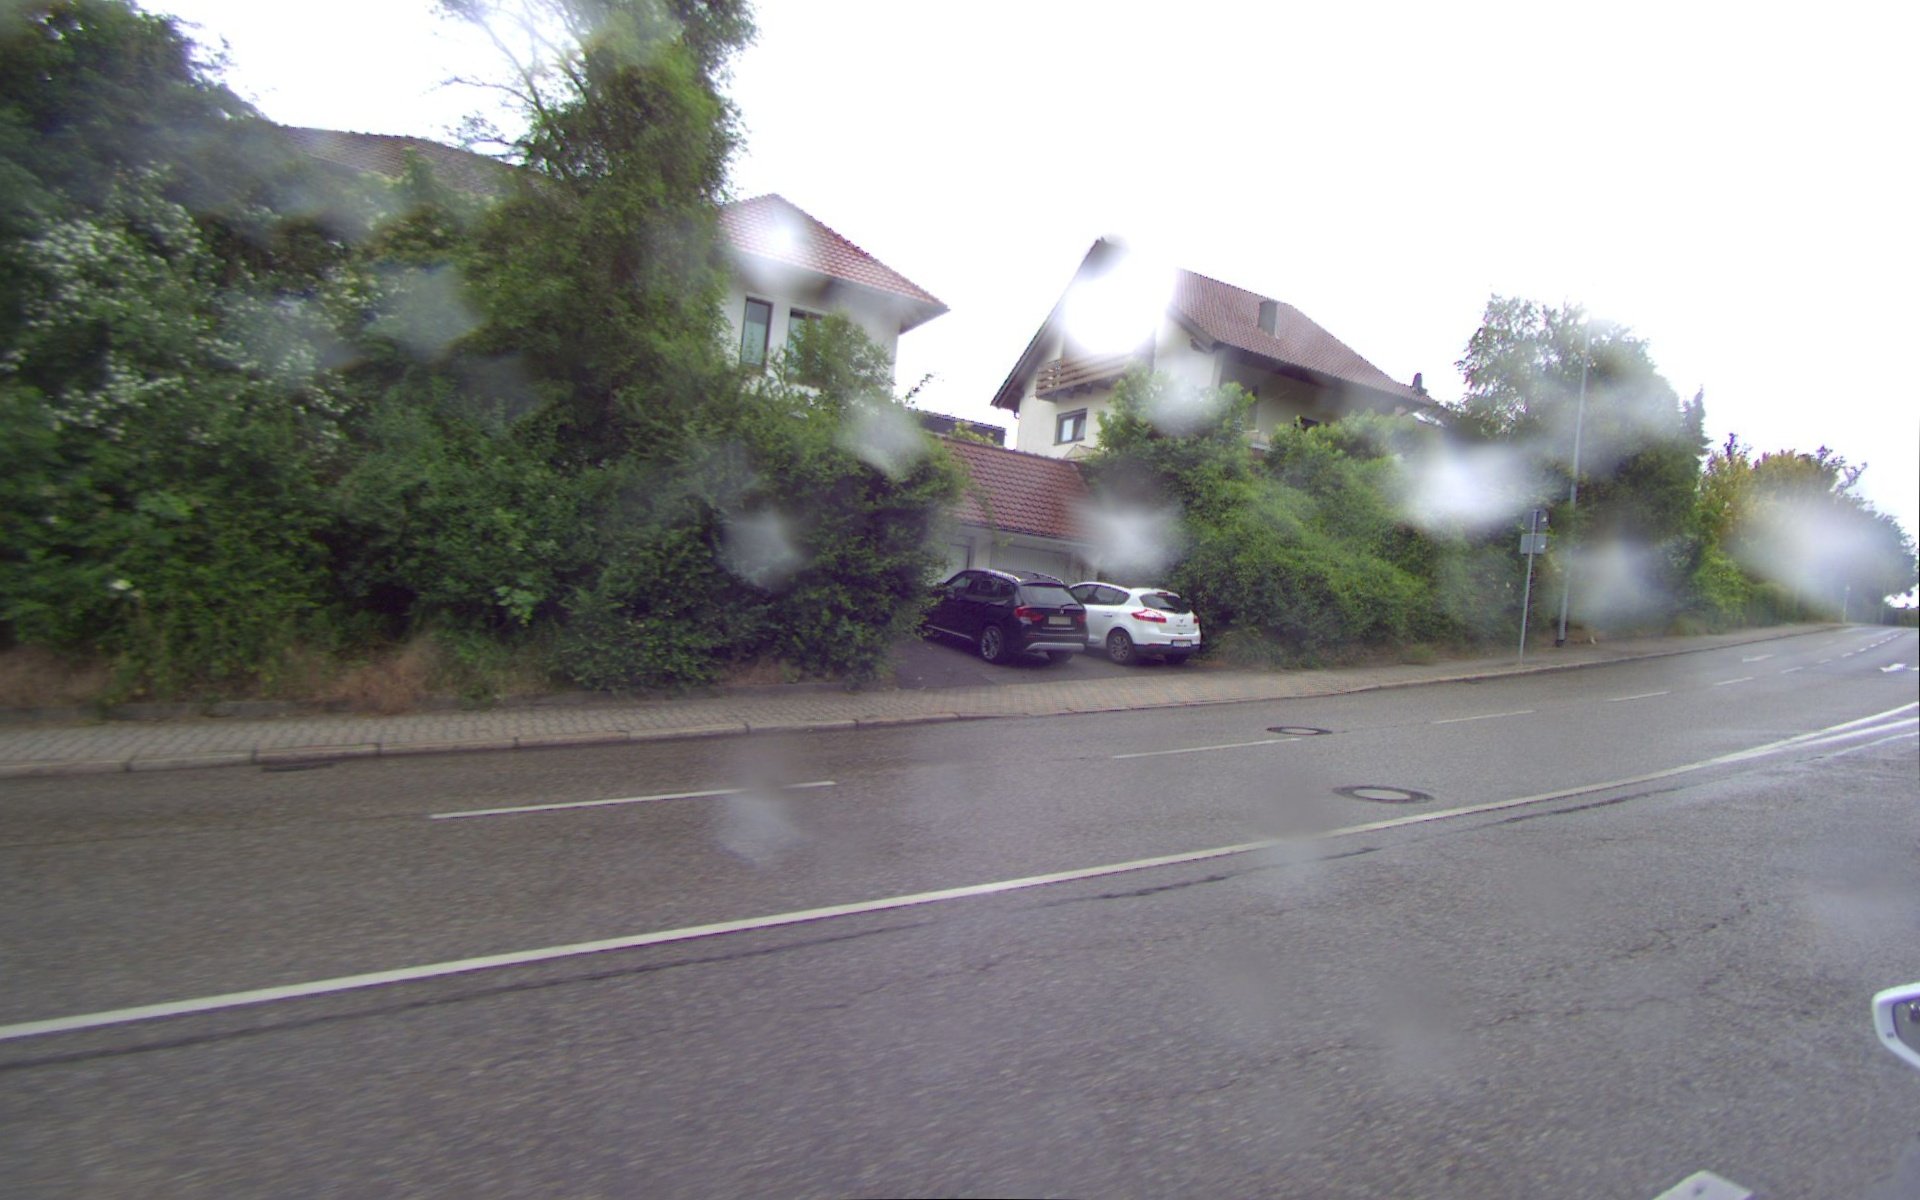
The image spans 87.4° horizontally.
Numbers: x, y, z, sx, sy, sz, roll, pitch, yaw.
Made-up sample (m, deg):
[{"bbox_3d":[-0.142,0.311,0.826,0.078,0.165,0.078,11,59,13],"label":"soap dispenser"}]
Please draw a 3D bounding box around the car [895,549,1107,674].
[{"bbox_3d":[0.639,0.150,18.800,1.837,1.701,3.960,2,7,-35],"label":"car"}]

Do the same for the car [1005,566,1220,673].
[{"bbox_3d":[2.940,0.330,20.120,1.840,1.466,3.955,2,7,-39],"label":"car"}]
